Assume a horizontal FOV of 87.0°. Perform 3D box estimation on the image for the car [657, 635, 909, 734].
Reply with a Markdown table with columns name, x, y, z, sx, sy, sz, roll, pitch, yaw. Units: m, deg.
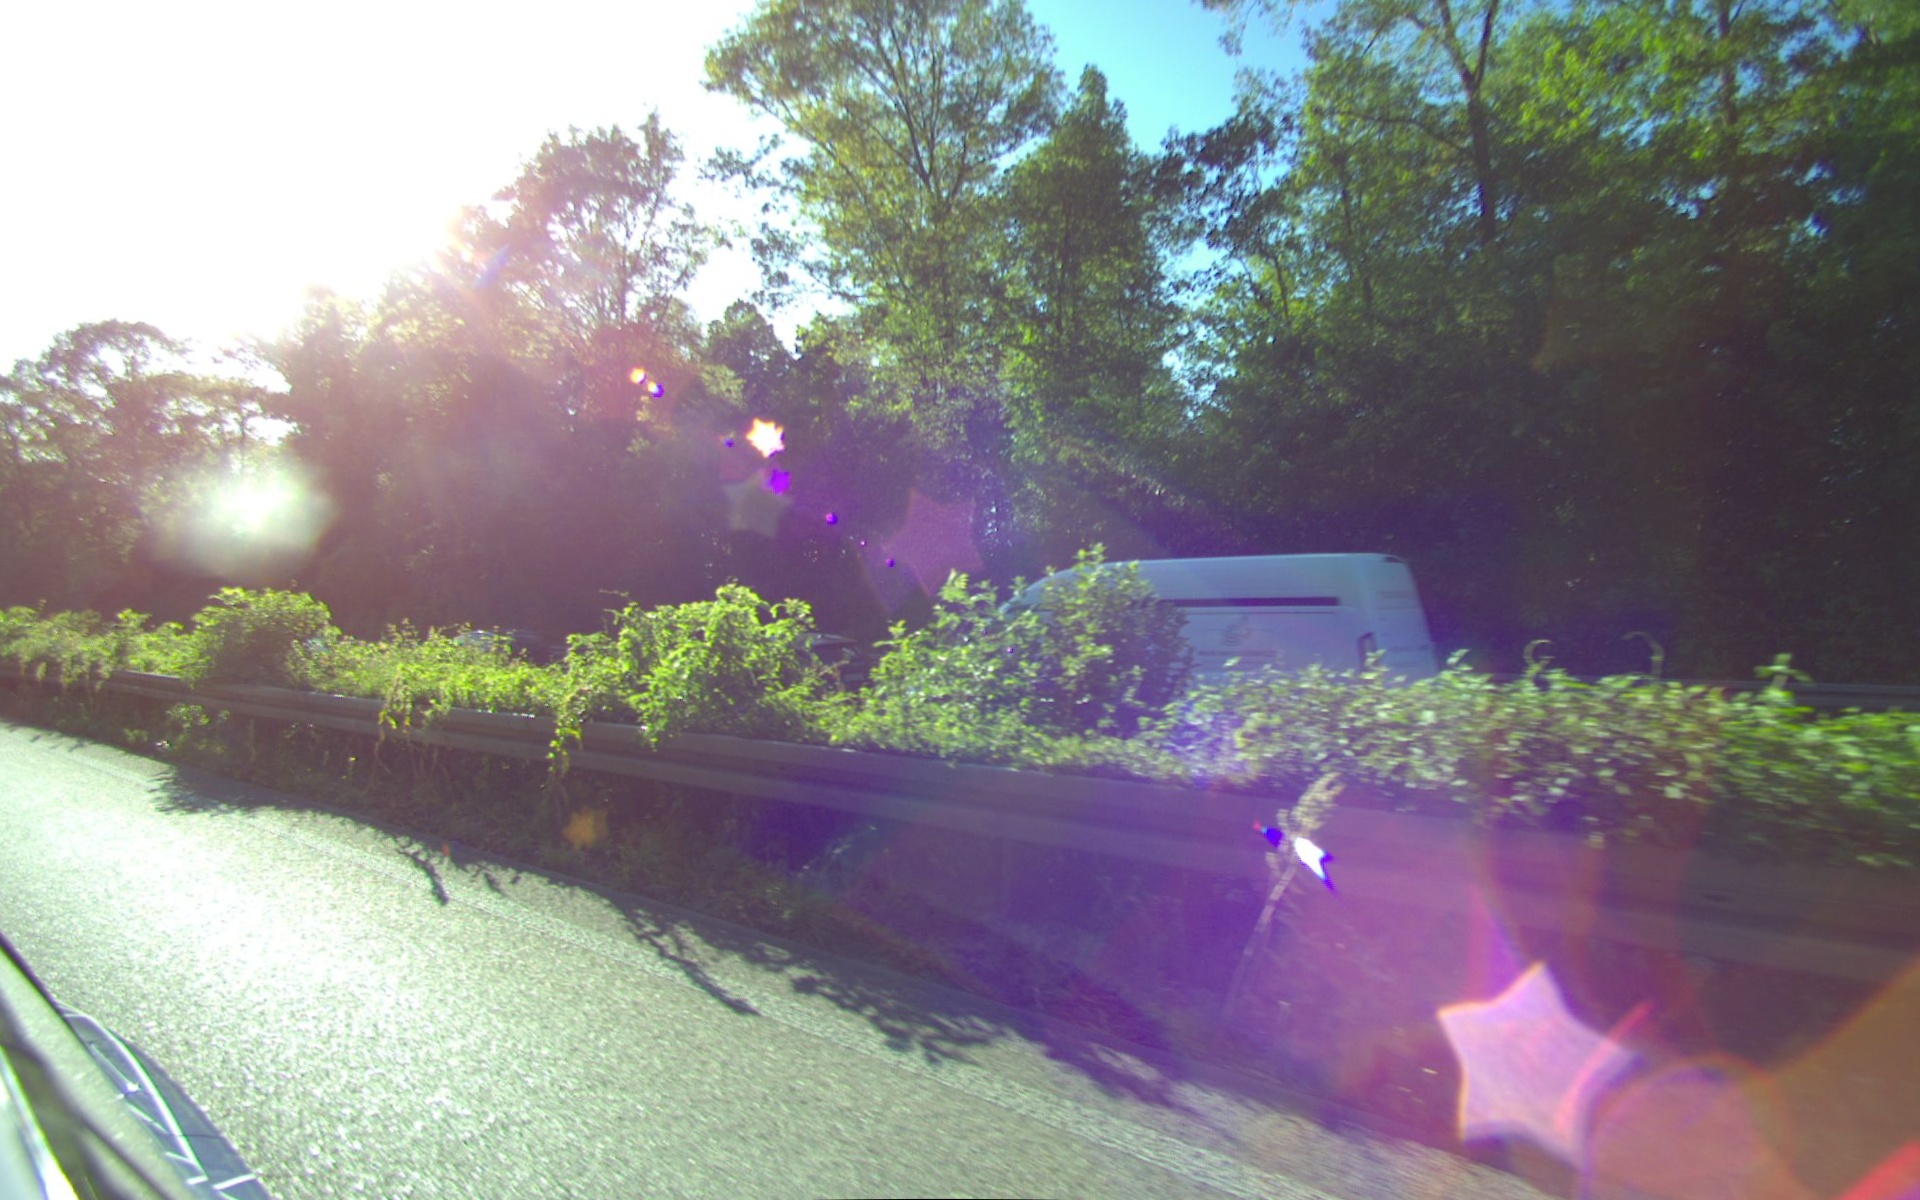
| name | x | y | z | sx | sy | sz | roll | pitch | yaw |
| --- | --- | --- | --- | --- | --- | --- | --- | --- | --- |
| car | -3.254 | 1.393 | 18.038 | 4.774 | 1.434 | 1.744 | -1 | 0 | 39 |

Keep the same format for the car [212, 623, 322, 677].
| name | x | y | z | sx | sy | sz | roll | pitch | yaw |
| --- | --- | --- | --- | --- | --- | --- | --- | --- | --- |
| car | -23.609 | 1.649 | 34.414 | 4.618 | 1.637 | 1.878 | -1 | 0 | 40 |

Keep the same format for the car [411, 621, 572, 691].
| name | x | y | z | sx | sy | sz | roll | pitch | yaw |
| --- | --- | --- | --- | --- | --- | --- | --- | --- | --- |
| car | -12.279 | 1.399 | 26.422 | 4.495 | 1.639 | 1.880 | -1 | 0 | 36 |

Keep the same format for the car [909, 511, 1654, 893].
| name | x | y | z | sx | sy | sz | roll | pitch | yaw |
| --- | --- | --- | --- | --- | --- | --- | --- | --- | --- |
| car | 2.320 | 0.632 | 8.636 | 5.780 | 2.269 | 1.895 | -1 | 0 | 40 |
